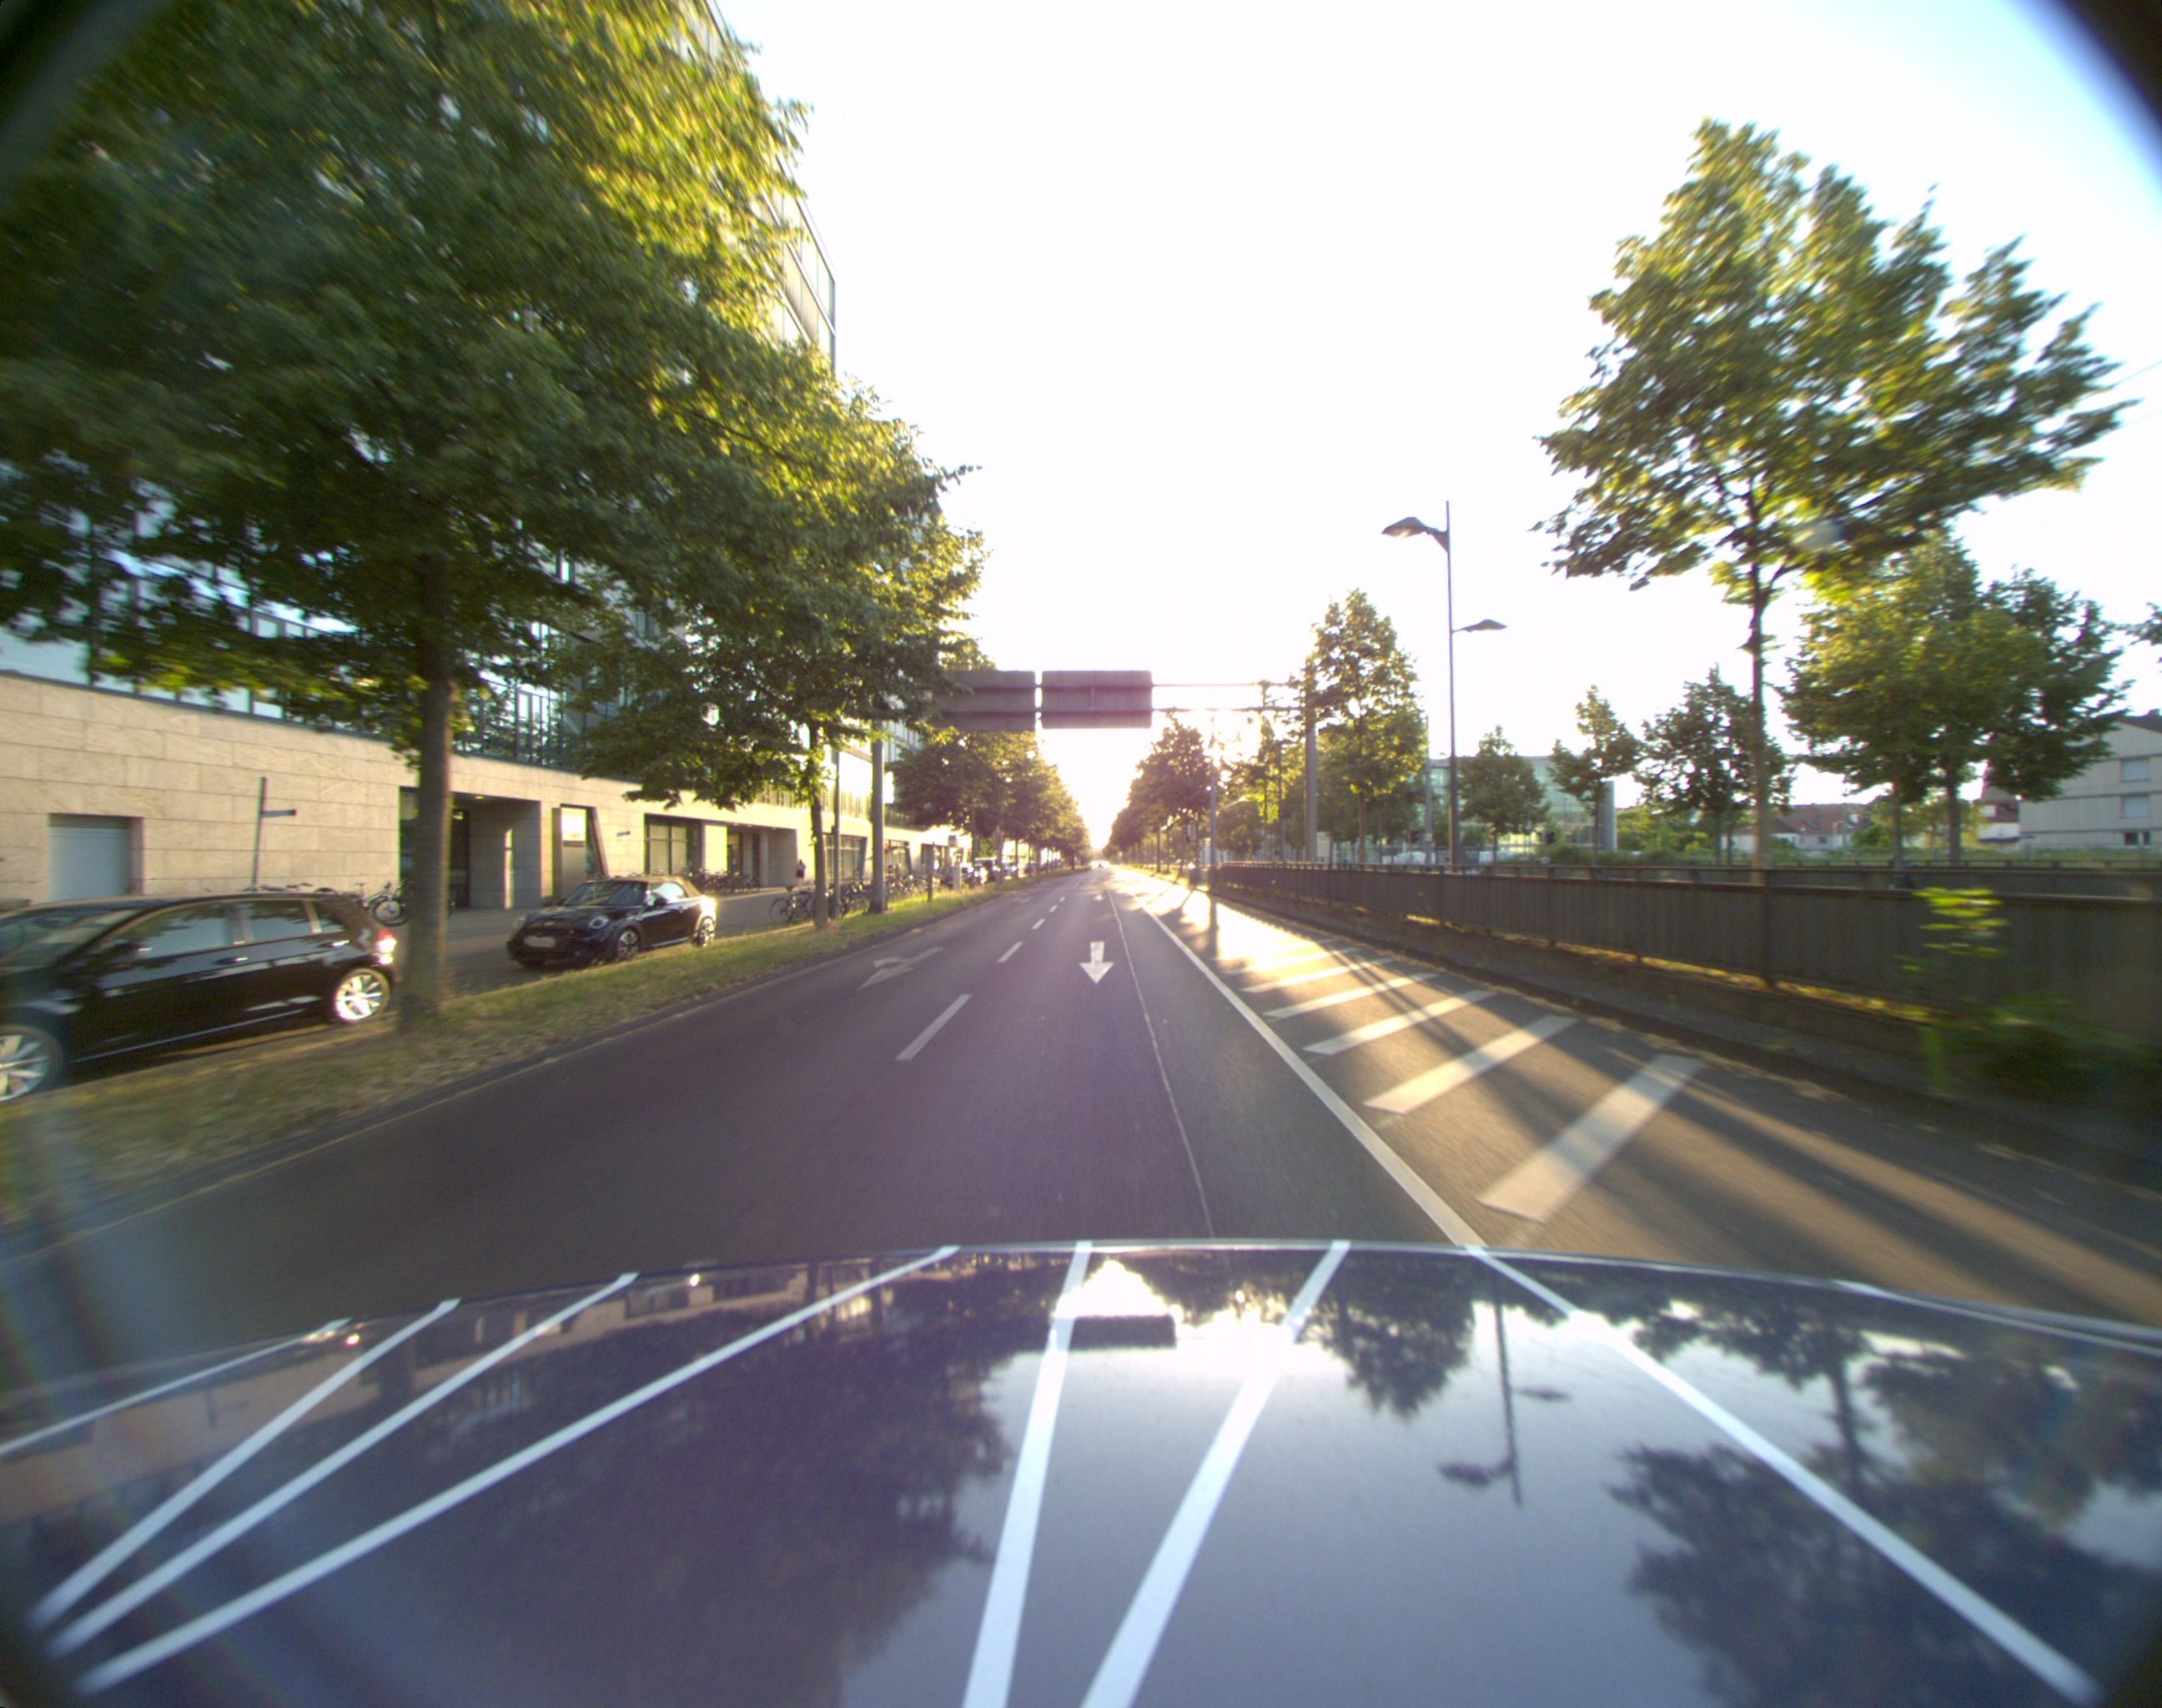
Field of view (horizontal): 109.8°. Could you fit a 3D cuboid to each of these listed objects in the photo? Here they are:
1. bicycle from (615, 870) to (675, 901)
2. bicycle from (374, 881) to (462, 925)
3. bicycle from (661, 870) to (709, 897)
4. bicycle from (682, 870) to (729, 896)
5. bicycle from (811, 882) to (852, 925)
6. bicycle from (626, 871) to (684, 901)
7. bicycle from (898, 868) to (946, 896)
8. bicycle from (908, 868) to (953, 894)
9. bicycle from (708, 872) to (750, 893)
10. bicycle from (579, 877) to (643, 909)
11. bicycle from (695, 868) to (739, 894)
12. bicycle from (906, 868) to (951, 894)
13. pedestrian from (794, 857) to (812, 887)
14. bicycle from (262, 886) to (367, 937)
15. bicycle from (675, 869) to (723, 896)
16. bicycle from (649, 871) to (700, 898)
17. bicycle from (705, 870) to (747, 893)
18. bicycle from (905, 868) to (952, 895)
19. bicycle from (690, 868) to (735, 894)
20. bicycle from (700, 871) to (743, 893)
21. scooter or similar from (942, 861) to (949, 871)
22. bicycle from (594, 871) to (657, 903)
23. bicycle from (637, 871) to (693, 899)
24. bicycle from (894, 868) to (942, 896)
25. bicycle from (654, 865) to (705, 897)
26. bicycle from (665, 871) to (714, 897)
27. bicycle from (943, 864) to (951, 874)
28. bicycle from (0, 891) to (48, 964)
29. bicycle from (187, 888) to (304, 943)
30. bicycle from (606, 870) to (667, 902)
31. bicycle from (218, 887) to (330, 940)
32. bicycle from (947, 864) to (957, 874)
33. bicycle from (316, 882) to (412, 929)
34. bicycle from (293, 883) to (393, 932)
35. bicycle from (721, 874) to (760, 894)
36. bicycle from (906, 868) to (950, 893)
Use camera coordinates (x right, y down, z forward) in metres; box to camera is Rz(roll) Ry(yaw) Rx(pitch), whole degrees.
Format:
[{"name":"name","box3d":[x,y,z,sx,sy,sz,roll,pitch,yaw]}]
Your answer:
[{"name":"bicycle","box3d":[-17.043,1.230,29.720,1.987,1.175,0.503,-1,0,-2]},{"name":"bicycle","box3d":[-17.434,1.276,20.007,1.789,1.098,0.508,-1,0,-3]},{"name":"bicycle","box3d":[-17.034,1.275,32.725,1.835,1.118,0.372,-1,0,-2]},{"name":"bicycle","box3d":[-16.983,1.308,34.410,1.835,1.170,0.503,-1,0,-2]},{"name":"bicycle","box3d":[-6.295,1.230,19.244,0.319,0.974,1.847,-1,0,3]},{"name":"bicycle","box3d":[-16.984,1.264,30.312,1.987,1.134,0.503,-1,0,-2]},{"name":"bicycle","box3d":[-6.986,1.221,33.401,1.947,1.047,0.408,-4,0,-6]},{"name":"bicycle","box3d":[-7.002,1.242,35.324,1.948,1.047,0.544,-4,0,-13]},{"name":"bicycle","box3d":[-17.078,1.402,36.889,1.835,0.981,0.404,-1,0,2]},{"name":"bicycle","box3d":[-16.905,1.396,27.348,1.987,1.135,0.503,-1,0,-2]},{"name":"bicycle","box3d":[-17.005,1.263,35.500,1.835,1.170,0.446,-1,0,2]},{"name":"bicycle","box3d":[-6.926,1.228,34.590,1.948,1.047,0.545,-4,0,-9]},{"name":"pedestrian","box3d":[-15.515,1.010,42.408,0.644,1.638,0.953,-1,0,1]},{"name":"bicycle","box3d":[-17.453,1.298,17.324,1.789,1.098,0.508,-1,0,-3]},{"name":"bicycle","box3d":[-17.012,1.277,33.832,1.835,1.170,0.503,-1,0,-2]},{"name":"bicycle","box3d":[-16.923,1.272,31.669,1.835,1.115,0.503,-1,0,-2]},{"name":"bicycle","box3d":[-17.040,1.328,36.502,1.835,1.051,0.404,-1,0,2]},{"name":"bicycle","box3d":[-6.813,1.207,33.952,1.947,1.047,0.545,-4,0,-6]},{"name":"bicycle","box3d":[-16.978,1.253,34.991,1.835,1.170,0.446,-1,0,2]},{"name":"bicycle","box3d":[-17.027,1.324,36.015,1.835,1.041,0.446,-1,0,2]},{"name":"scooter or similar","box3d":[-16.124,1.434,90.378,0.473,1.204,1.229,0,0,3]},{"name":"bicycle","box3d":[-16.864,1.217,28.161,1.987,1.135,0.503,-1,0,-2]},{"name":"bicycle","box3d":[-16.966,1.271,30.984,1.987,1.093,0.503,-1,0,-2]},{"name":"bicycle","box3d":[-7.058,1.213,32.954,1.947,1.047,0.408,-4,0,-6]},{"name":"bicycle","box3d":[-17.022,1.145,32.222,1.835,1.349,0.503,-1,0,-2]},{"name":"bicycle","box3d":[-17.100,1.302,33.214,1.835,1.106,0.503,-1,0,-2]},{"name":"bicycle","box3d":[-13.953,1.544,79.061,0.471,1.033,1.807,0,0,2]},{"name":"bicycle","box3d":[-18.324,1.237,12.118,0.470,1.201,2.264,-1,0,5]},{"name":"bicycle","box3d":[-17.534,1.278,15.961,1.789,1.098,0.508,-1,0,-3]},{"name":"bicycle","box3d":[-16.903,1.218,28.892,1.987,1.161,0.503,-1,0,-2]},{"name":"bicycle","box3d":[-17.512,1.286,16.516,1.789,1.098,0.508,-1,0,-3]},{"name":"bicycle","box3d":[-13.394,1.520,78.773,0.596,1.033,1.893,0,0,2]},{"name":"bicycle","box3d":[-17.552,1.256,18.616,1.789,1.098,0.508,-1,0,-3]},{"name":"bicycle","box3d":[-17.453,1.264,17.995,1.789,1.098,0.508,-1,0,-3]},{"name":"bicycle","box3d":[-16.880,1.488,37.722,1.748,0.947,0.404,-1,0,2]},{"name":"bicycle","box3d":[-7.274,1.263,36.170,1.948,1.047,0.544,-4,0,-13]}]
